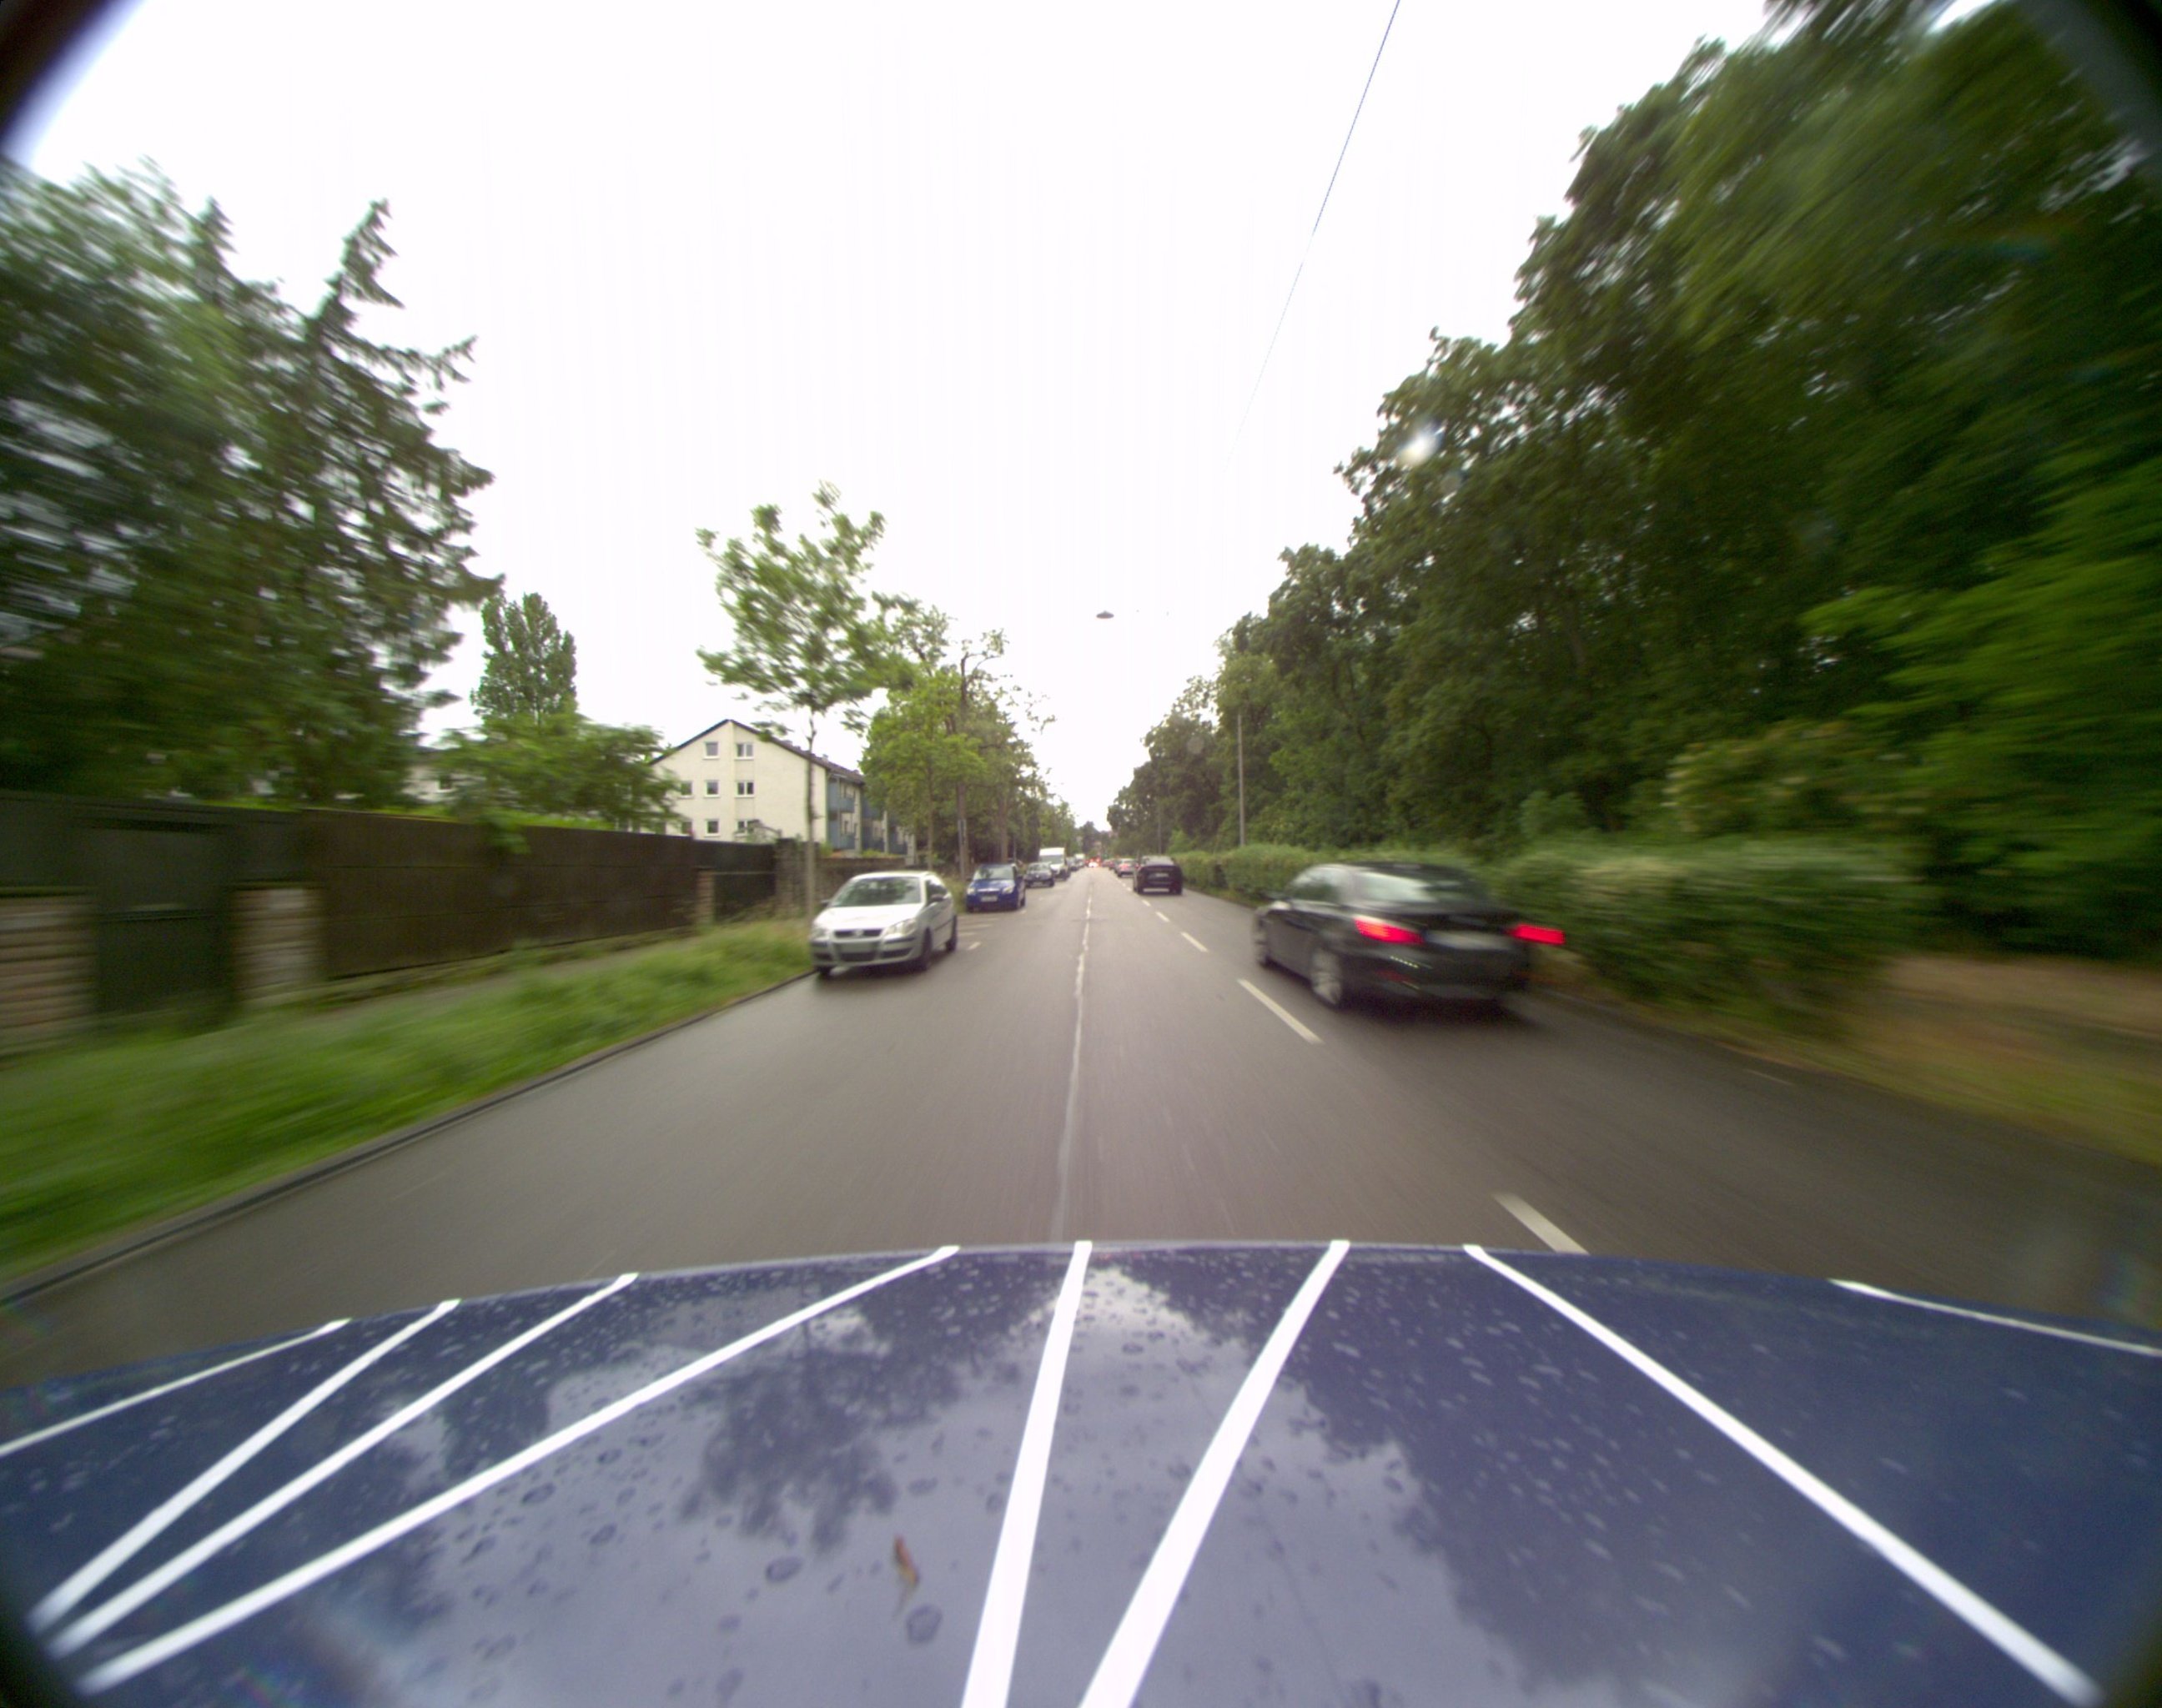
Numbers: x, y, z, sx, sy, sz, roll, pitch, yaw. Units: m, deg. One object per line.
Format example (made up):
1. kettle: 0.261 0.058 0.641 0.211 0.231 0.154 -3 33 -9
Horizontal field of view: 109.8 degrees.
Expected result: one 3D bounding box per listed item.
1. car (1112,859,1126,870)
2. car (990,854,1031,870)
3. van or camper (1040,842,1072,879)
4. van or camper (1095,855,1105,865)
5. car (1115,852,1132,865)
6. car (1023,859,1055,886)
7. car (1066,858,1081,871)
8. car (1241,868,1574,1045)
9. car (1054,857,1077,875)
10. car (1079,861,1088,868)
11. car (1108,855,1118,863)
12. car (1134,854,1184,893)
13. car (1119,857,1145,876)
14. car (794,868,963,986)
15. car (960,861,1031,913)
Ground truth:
1. car: 5.272 1.474 105.845 1.734 1.483 4.001 0 -1 1
2. car: -7.937 0.862 85.315 4.319 1.672 2.000 1 1 2
3. van or camper: -1.847 0.497 58.293 2.083 2.634 5.347 -3 -1 1
4. van or camper: 6.589 2.186 263.728 2.862 3.159 6.852 -3 -1 3
5. car: 4.395 0.504 78.706 1.690 1.348 3.724 0 -1 1
6. car: -2.474 1.103 45.602 1.745 1.470 3.964 -3 -1 -1
7. car: -1.007 1.394 102.086 1.778 1.712 4.327 -3 -1 2
8. car: 3.218 0.886 8.797 1.733 1.434 5.113 0 -1 1
9. car: -1.391 1.081 68.149 1.629 1.455 3.809 -3 -1 4
10. car: 0.454 2.163 155.973 1.786 1.387 4.000 -3 -1 0
11. car: 6.240 0.986 147.731 1.788 1.471 3.967 -1 1 1
12. car: 3.312 0.834 33.137 1.808 1.537 4.433 1 -1 1
13. car: 4.090 0.977 61.262 1.860 1.459 4.447 1 -1 2
14. car: -3.019 1.015 12.114 1.622 1.499 3.835 -3 -1 0
15. car: -2.759 1.046 25.355 1.725 1.496 4.051 -3 -1 2
